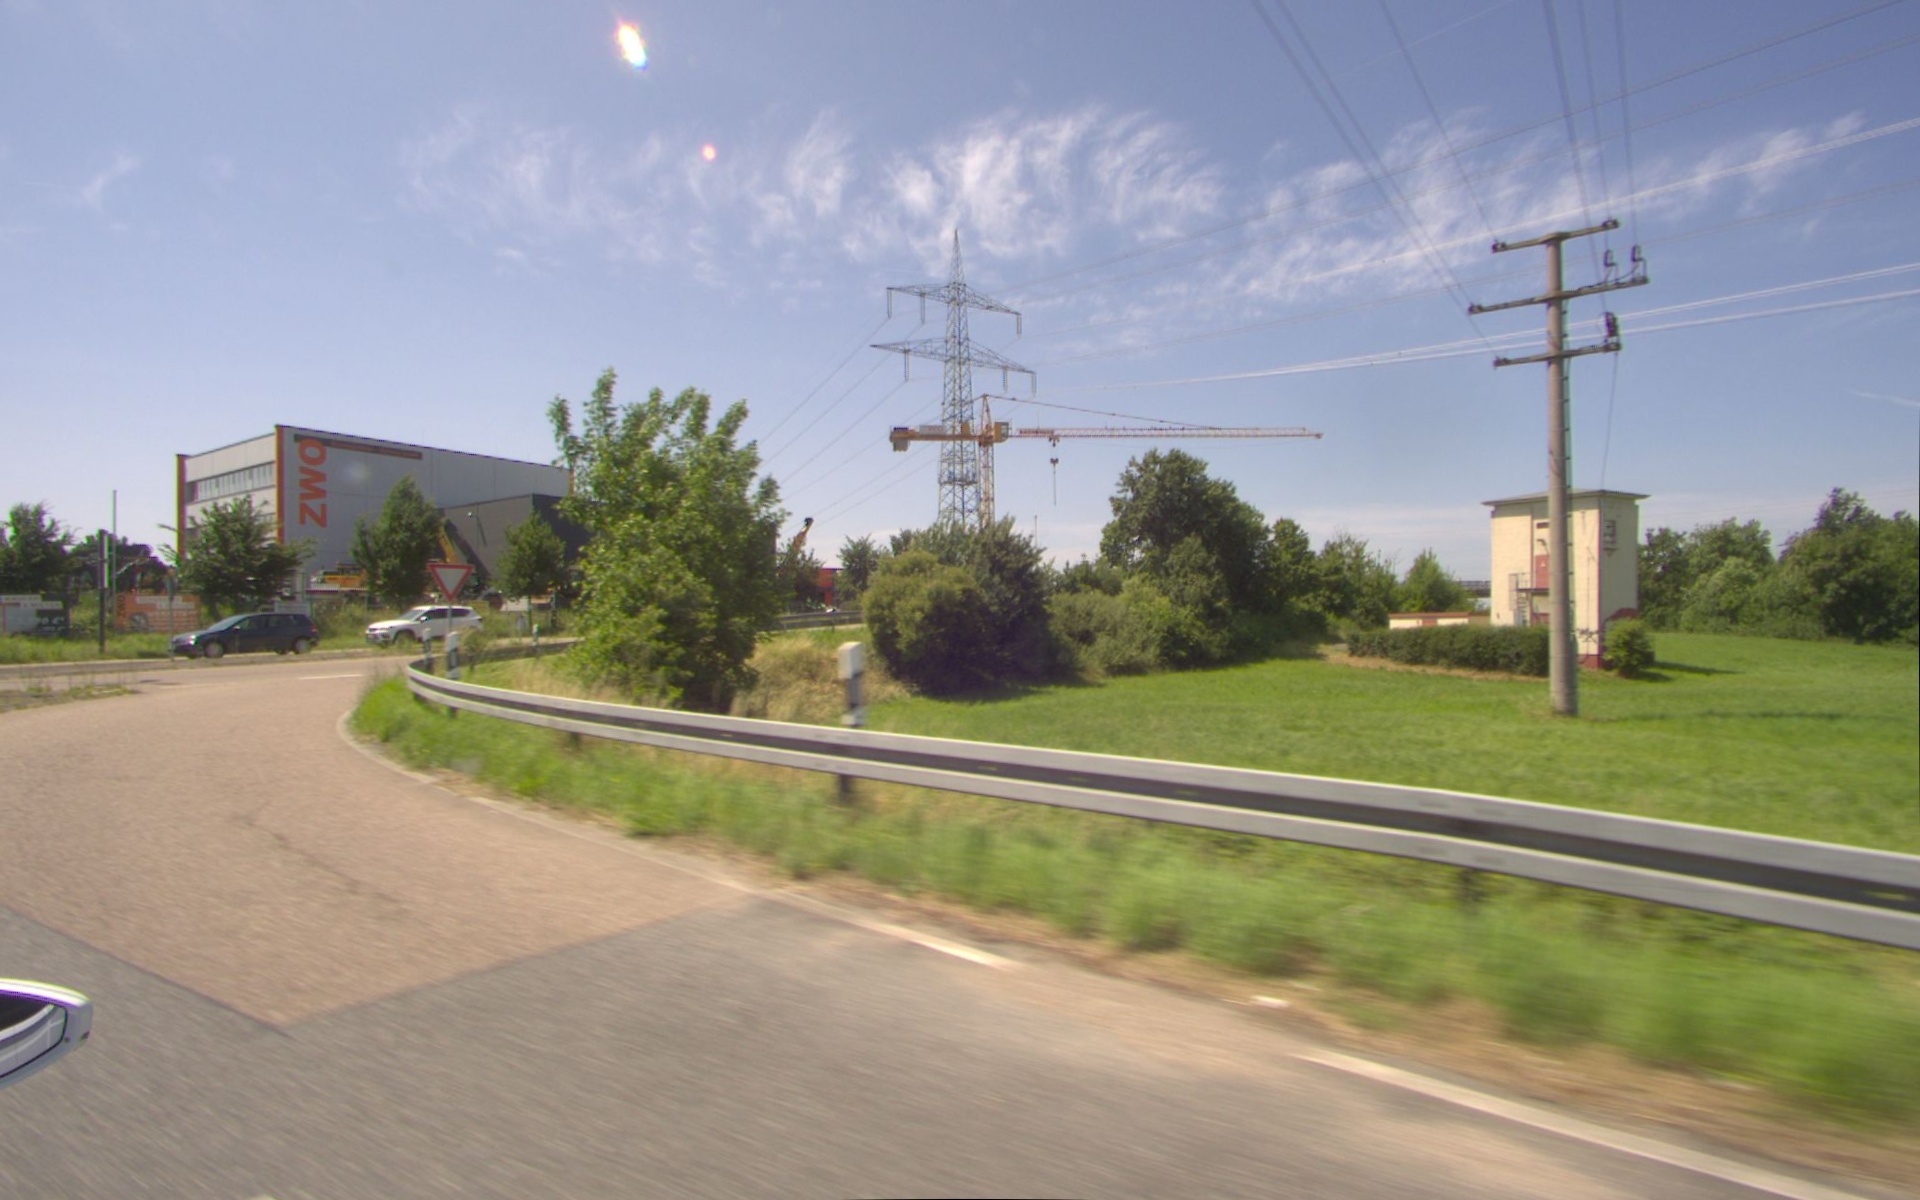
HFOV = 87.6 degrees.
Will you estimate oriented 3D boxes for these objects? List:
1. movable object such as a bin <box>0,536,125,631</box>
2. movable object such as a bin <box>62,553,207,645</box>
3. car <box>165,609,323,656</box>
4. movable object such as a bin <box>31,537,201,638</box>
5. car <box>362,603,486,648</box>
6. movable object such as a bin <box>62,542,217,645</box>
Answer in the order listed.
[{"bbox_3d":[-55.591,-0.855,61.693,3.178,5.333,5.705,-3,-4,34],"label":"movable object such as a bin"},{"bbox_3d":[-41.971,0.093,51.019,2.797,4.327,5.075,-3,-4,34],"label":"movable object such as a bin"},{"bbox_3d":[-23.815,1.041,33.442,1.612,1.459,3.989,0,0,34],"label":"car"},{"bbox_3d":[-48.009,-0.516,57.134,3.756,5.210,6.578,-3,-4,34],"label":"movable object such as a bin"},{"bbox_3d":[-21.403,0.968,40.103,1.734,1.643,4.074,1,1,34],"label":"car"},{"bbox_3d":[-44.850,-0.199,54.896,3.067,5.167,5.907,-3,-4,34],"label":"movable object such as a bin"}]
